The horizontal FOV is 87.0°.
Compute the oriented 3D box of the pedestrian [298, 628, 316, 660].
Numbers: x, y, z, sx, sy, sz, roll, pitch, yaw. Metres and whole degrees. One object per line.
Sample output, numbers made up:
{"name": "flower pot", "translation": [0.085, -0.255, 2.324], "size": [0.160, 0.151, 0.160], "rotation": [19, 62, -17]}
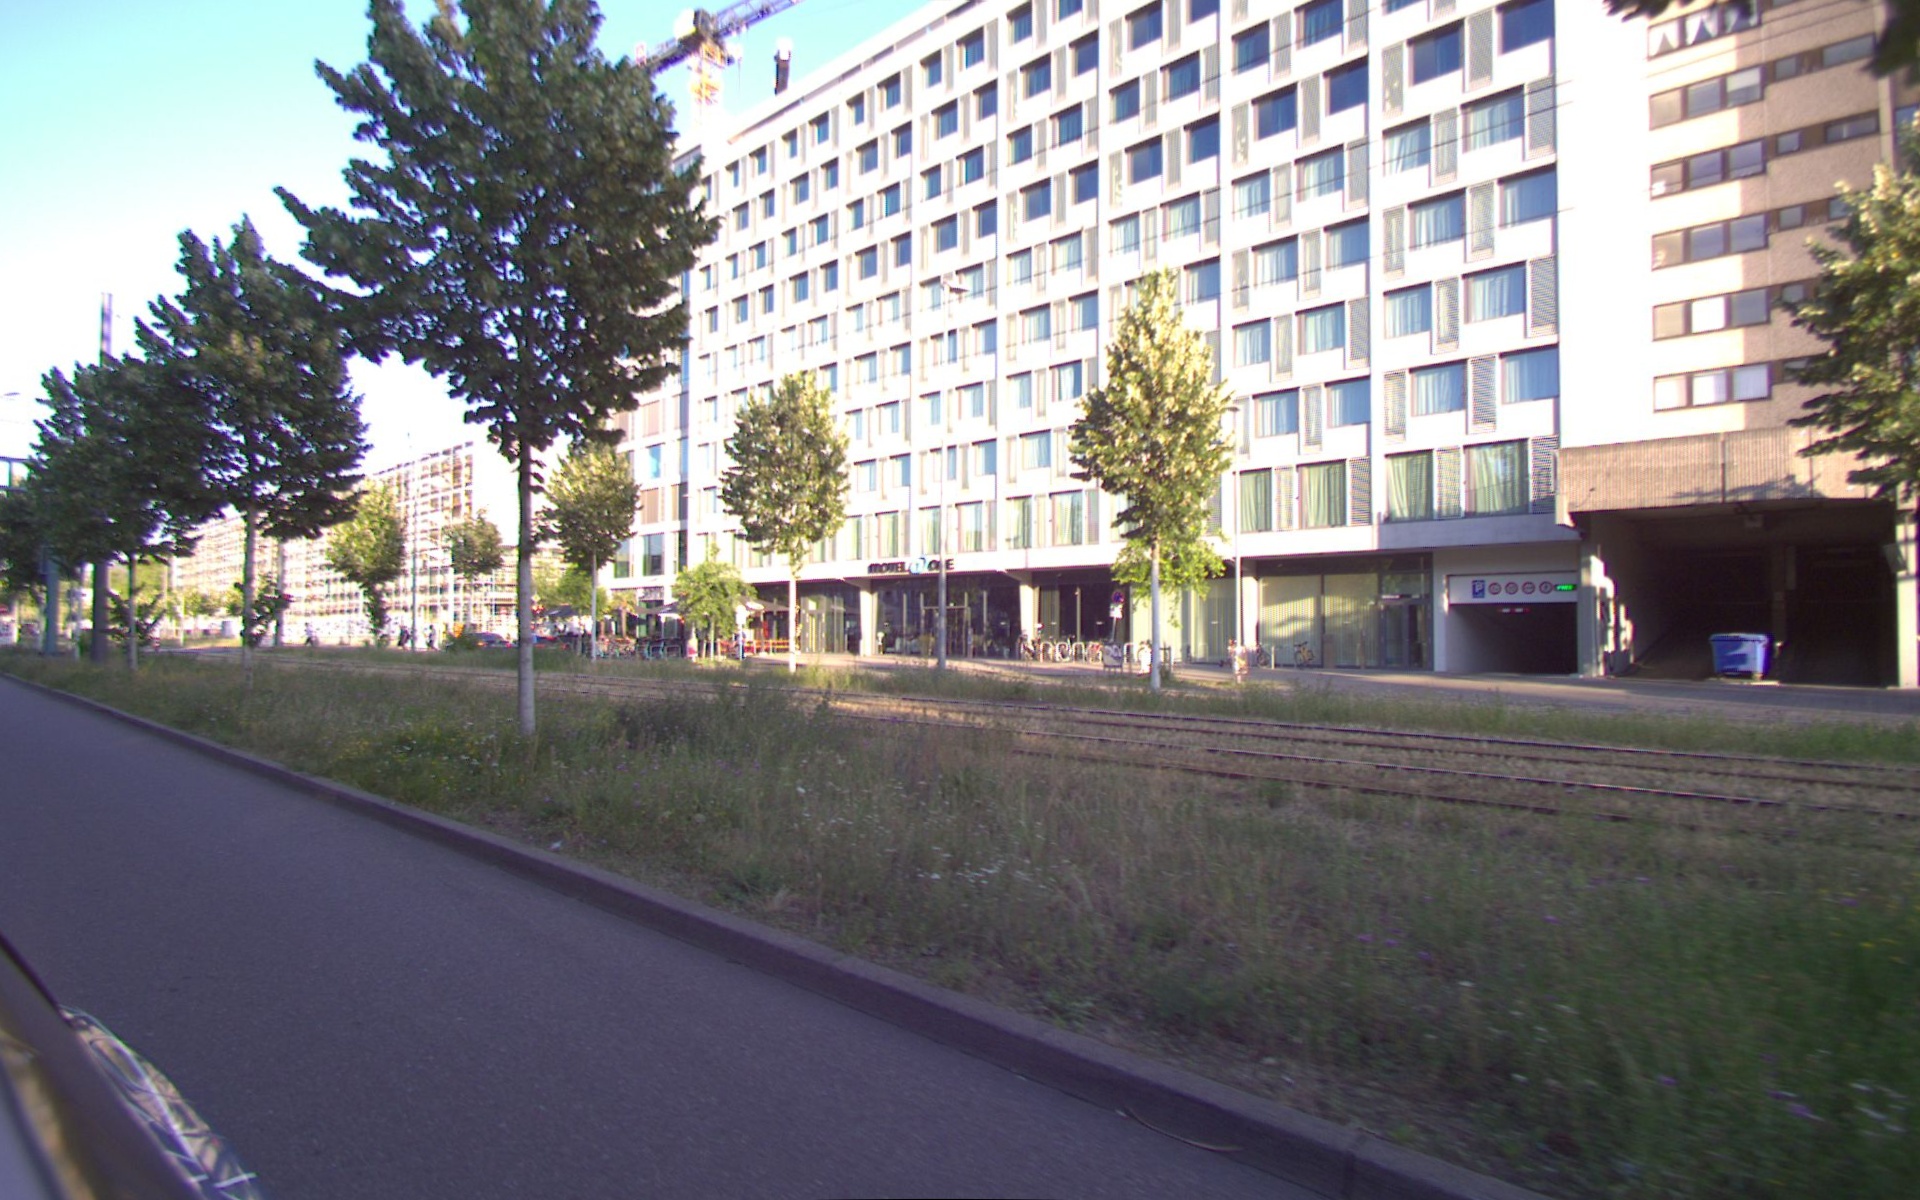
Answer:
{"name": "pedestrian", "translation": [-37.478, 2.514, 58.064], "size": [0.762, 1.850, 0.699], "rotation": [-2, -2, 41]}

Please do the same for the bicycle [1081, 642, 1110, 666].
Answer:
{"name": "bicycle", "translation": [5.807, 2.295, 43.258], "size": [0.421, 1.028, 1.725], "rotation": [-2, -3, 39]}

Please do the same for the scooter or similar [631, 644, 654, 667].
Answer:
{"name": "scooter or similar", "translation": [-17.528, 3.050, 55.838], "size": [0.338, 1.227, 1.168], "rotation": [-2, -3, 43]}

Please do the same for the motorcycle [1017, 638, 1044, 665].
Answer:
{"name": "motorcycle", "translation": [3.214, 2.336, 46.023], "size": [0.513, 1.180, 1.880], "rotation": [-1, -2, 27]}

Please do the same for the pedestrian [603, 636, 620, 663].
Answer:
{"name": "pedestrian", "translation": [-21.864, 3.093, 63.502], "size": [0.703, 1.616, 0.676], "rotation": [-2, -1, 19]}

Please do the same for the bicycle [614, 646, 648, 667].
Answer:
{"name": "bicycle", "translation": [-18.408, 3.162, 56.675], "size": [0.442, 1.067, 1.890], "rotation": [-2, -1, 39]}

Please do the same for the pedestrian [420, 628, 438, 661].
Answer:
{"name": "pedestrian", "translation": [-31.721, 2.640, 60.460], "size": [0.709, 1.938, 0.671], "rotation": [-2, 1, 44]}

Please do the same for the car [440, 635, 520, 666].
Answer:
{"name": "car", "translation": [-24.448, 2.556, 51.466], "size": [4.801, 1.452, 1.993], "rotation": [-2, -5, 43]}

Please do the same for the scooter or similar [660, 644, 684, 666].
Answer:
{"name": "scooter or similar", "translation": [-15.218, 2.912, 53.448], "size": [0.338, 1.066, 1.169], "rotation": [-4, 0, 43]}

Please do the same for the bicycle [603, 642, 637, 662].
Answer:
{"name": "bicycle", "translation": [-19.373, 2.941, 57.643], "size": [0.442, 1.067, 1.890], "rotation": [-2, -1, 39]}

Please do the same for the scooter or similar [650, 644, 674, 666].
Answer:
{"name": "scooter or similar", "translation": [-16.049, 2.982, 54.506], "size": [0.338, 1.172, 1.168], "rotation": [-2, -3, 43]}

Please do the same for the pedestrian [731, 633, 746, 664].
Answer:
{"name": "pedestrian", "translation": [-11.702, 2.573, 53.471], "size": [0.604, 1.612, 0.491], "rotation": [-2, -1, 44]}

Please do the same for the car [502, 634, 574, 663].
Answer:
{"name": "car", "translation": [-22.339, 2.542, 53.508], "size": [4.222, 1.451, 1.865], "rotation": [-2, -3, 42]}

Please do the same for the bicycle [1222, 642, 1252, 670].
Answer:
{"name": "bicycle", "translation": [10.554, 2.126, 38.511], "size": [0.421, 1.028, 1.770], "rotation": [-2, -3, 39]}
